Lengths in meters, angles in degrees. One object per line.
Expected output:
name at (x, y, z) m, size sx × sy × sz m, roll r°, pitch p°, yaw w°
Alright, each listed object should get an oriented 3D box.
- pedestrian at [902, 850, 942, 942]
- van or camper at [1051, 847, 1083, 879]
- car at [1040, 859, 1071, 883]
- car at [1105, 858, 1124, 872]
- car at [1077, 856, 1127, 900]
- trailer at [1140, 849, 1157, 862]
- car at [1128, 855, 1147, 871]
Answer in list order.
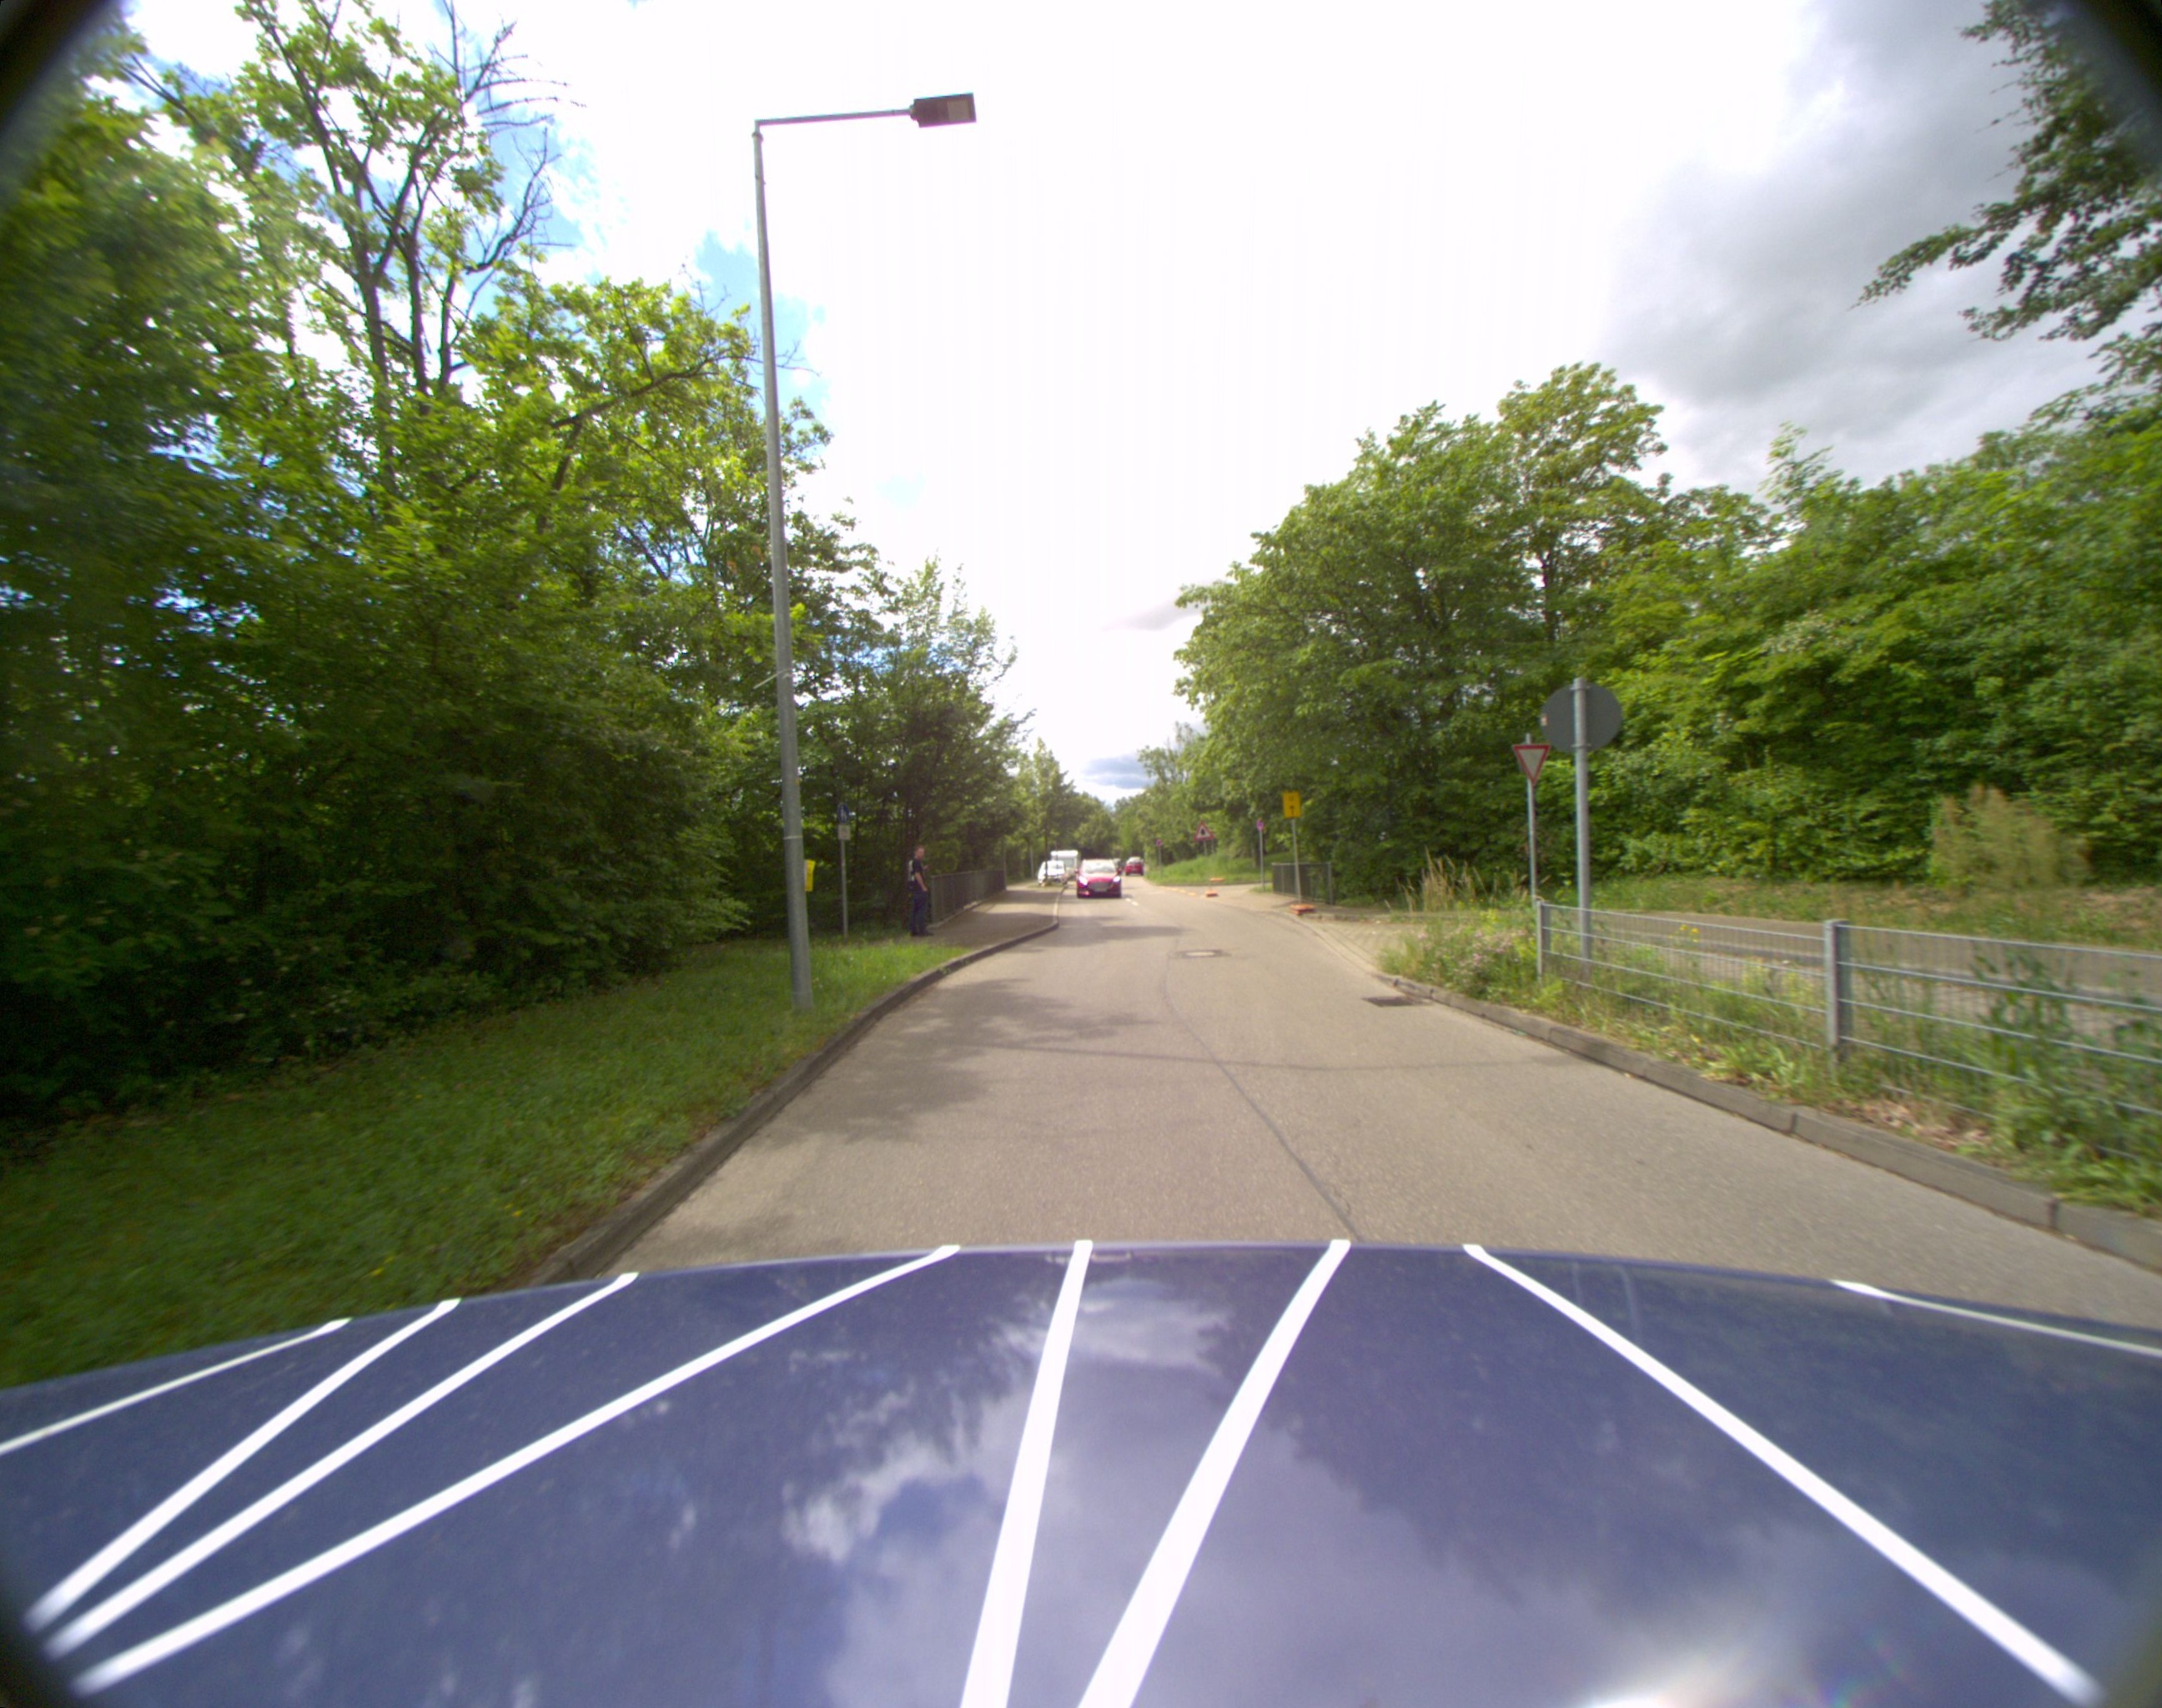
pedestrian at (-3.156, 0.816, 15.139) m, size 0.682 × 1.773 × 0.588 m, roll -2°, pitch 1°, yaw -7°
van or camper at (-1.120, 0.743, 64.416) m, size 2.360 × 2.539 × 5.075 m, roll 0°, pitch 0°, yaw 3°
car at (-1.702, 1.142, 51.726) m, size 1.809 × 1.590 × 4.372 m, roll 0°, pitch 0°, yaw 1°
car at (3.734, 1.207, 85.003) m, size 1.795 × 1.500 × 4.115 m, roll 2°, pitch 1°, yaw 6°
car at (0.813, 0.958, 32.689) m, size 1.912 × 1.688 × 4.386 m, roll -2°, pitch 0°, yaw -1°
trailer at (11.104, 0.235, 125.215) m, size 1.731 × 2.067 × 3.788 m, roll 1°, pitch 3°, yaw 21°
car at (6.240, 0.997, 83.493) m, size 1.846 × 1.649 × 4.224 m, roll -1°, pitch -1°, yaw 8°
